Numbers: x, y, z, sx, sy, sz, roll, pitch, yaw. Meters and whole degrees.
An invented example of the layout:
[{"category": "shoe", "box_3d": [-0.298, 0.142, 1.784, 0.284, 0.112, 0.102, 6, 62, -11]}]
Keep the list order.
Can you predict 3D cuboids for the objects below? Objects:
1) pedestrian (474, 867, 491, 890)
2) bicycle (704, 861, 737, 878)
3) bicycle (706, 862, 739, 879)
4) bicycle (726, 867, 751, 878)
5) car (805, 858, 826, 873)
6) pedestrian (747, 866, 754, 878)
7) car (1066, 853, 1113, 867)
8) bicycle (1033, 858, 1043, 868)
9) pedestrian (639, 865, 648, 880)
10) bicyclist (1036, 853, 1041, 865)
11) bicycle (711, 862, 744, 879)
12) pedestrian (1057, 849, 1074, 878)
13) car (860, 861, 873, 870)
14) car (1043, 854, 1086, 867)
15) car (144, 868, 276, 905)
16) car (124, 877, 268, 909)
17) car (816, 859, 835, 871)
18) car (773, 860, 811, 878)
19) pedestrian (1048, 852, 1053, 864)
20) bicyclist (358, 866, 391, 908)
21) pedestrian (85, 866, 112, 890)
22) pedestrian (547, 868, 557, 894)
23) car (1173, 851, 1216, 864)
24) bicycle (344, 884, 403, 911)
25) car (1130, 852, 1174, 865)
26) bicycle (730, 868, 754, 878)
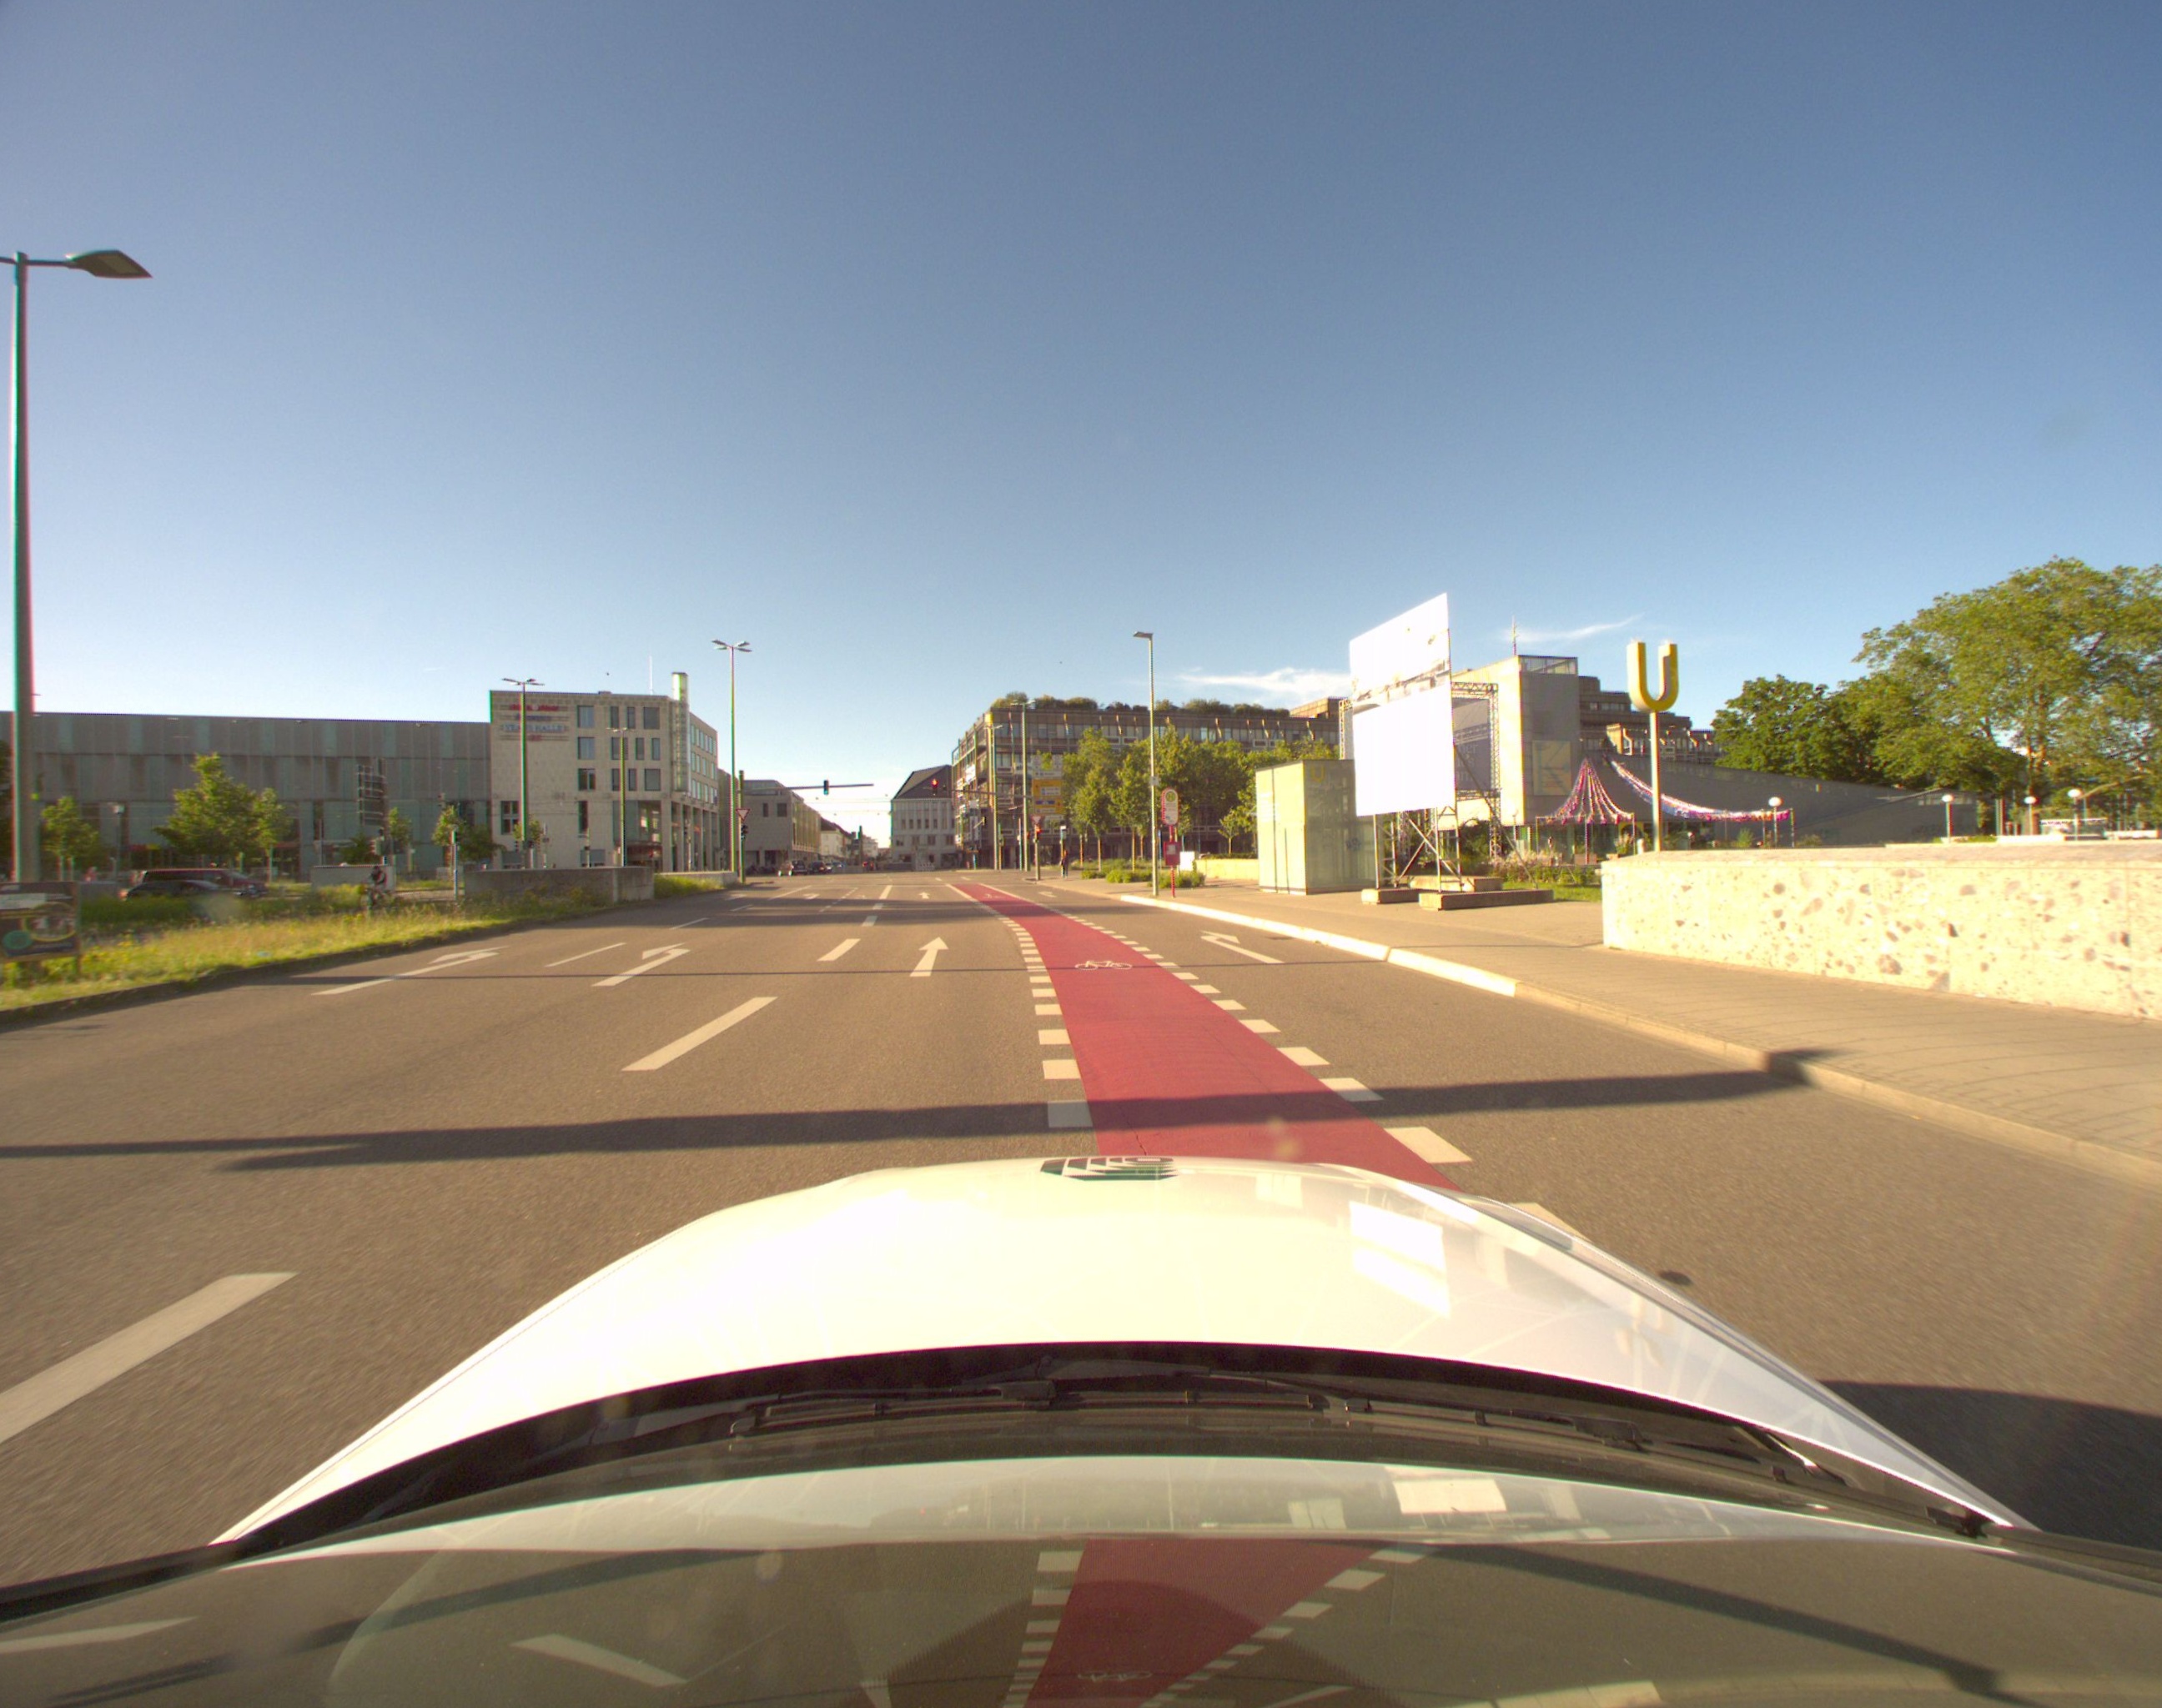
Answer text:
[{"category": "pedestrian", "box_3d": [-40.132, 1.638, 54.625, 0.724, 1.502, 0.797, -1, 0, -21]}, {"category": "bicycle", "box_3d": [-44.791, 1.930, 101.260, 3.633, 2.013, 1.079, -2, 0, -20]}, {"category": "bicycle", "box_3d": [-45.105, 2.020, 102.555, 3.628, 2.013, 1.081, -2, 0, -16]}, {"category": "bicycle", "box_3d": [-49.130, 2.666, 116.844, 3.057, 1.400, 0.897, -2, 0, -16]}, {"category": "car", "box_3d": [-32.966, 1.398, 101.127, 1.995, 1.742, 4.627, -1, 1, -12]}, {"category": "pedestrian", "box_3d": [-45.814, 2.546, 112.938, 0.748, 1.608, 0.617, -1, 0, -39]}, {"category": "car", "box_3d": [0.929, 0.614, 87.810, 4.640, 1.356, 1.990, -1, 1, -16]}, {"category": "bicycle", "box_3d": [-4.611, 0.977, 87.583, 1.076, 0.971, 0.456, -2, 0, -10]}, {"category": "pedestrian", "box_3d": [-48.152, 2.073, 89.645, 0.623, 1.608, 0.650, -1, 0, -13]}, {"category": "bicyclist", "box_3d": [-4.570, 0.539, 87.599, 0.508, 1.338, 0.451, -1, 0, -10]}, {"category": "bicycle", "box_3d": [-45.115, 2.078, 104.040, 3.628, 2.013, 1.081, -2, 0, -16]}, {"category": "pedestrian", "box_3d": [-0.964, 0.603, 50.429, 0.816, 1.748, 1.044, -3, 0, 10]}, {"category": "car", "box_3d": [-37.657, 2.056, 142.959, 1.999, 1.552, 3.975, -1, 0, -18]}, {"category": "car", "box_3d": [-1.925, 0.742, 94.973, 4.640, 1.356, 1.990, -1, 1, -16]}, {"category": "car", "box_3d": [-48.549, 1.787, 45.493, 4.655, 1.810, 1.859, -2, -2, -20]}, {"category": "car", "box_3d": [-45.559, 1.990, 42.072, 4.655, 1.375, 1.859, -2, -2, -20]}, {"category": "car", "box_3d": [-35.518, 1.526, 113.332, 1.995, 1.356, 4.628, -1, 1, -12]}, {"category": "car", "box_3d": [-26.565, 1.343, 74.820, 3.742, 1.564, 1.792, -1, 0, 44]}, {"category": "pedestrian", "box_3d": [-3.937, 0.540, 106.404, 0.621, 1.519, 0.653, -1, 0, -3]}, {"category": "bicyclist", "box_3d": [-26.070, 1.216, 30.073, 0.606, 1.489, 0.679, -1, 0, -7]}, {"category": "pedestrian", "box_3d": [-62.436, 1.508, 51.759, 0.803, 1.502, 0.719, -1, 0, -20]}, {"category": "pedestrian", "box_3d": [-41.961, 2.153, 64.597, 0.517, 2.013, 0.620, -1, 0, -25]}, {"category": "car", "box_3d": [13.398, 0.356, 96.151, 4.640, 1.356, 1.990, -1, 1, -16]}, {"category": "bicycle", "box_3d": [-26.047, 1.597, 30.018, 0.611, 0.861, 1.946, -1, 0, -7]}, {"category": "car", "box_3d": [8.278, 0.555, 94.843, 4.640, 1.356, 1.990, -1, 1, -16]}, {"category": "bicycle", "box_3d": [-49.961, 2.790, 120.026, 3.057, 1.400, 0.897, -2, 0, -16]}]
